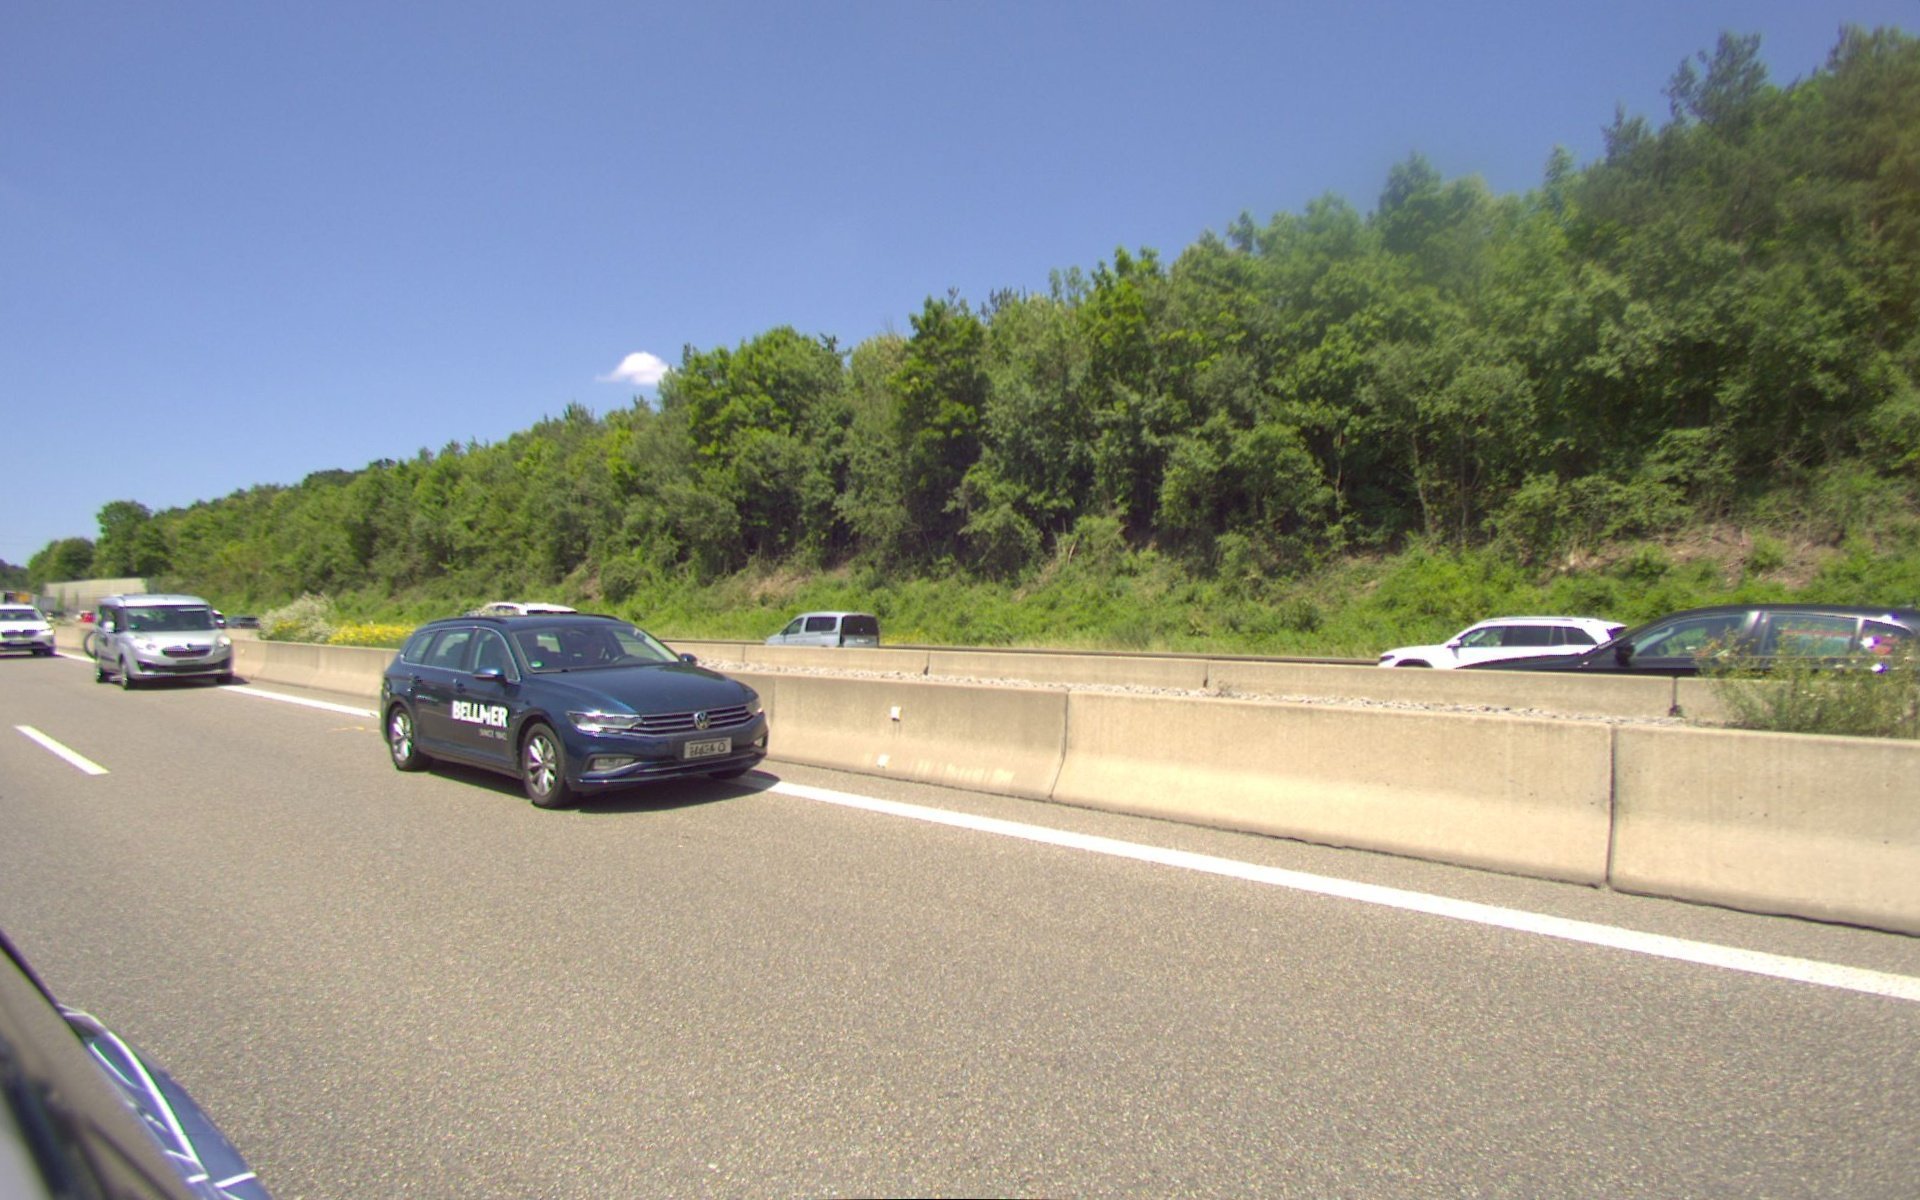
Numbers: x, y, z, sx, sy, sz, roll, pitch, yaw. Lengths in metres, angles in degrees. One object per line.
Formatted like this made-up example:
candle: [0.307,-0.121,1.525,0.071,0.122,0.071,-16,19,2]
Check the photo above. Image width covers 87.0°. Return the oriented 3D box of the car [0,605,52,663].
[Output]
car: [-30.620,1.038,32.479,3.999,1.719,1.800,0,0,42]

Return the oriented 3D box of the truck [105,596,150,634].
truck: [-91.946,1.559,111.748,7.988,4.019,2.664,0,0,42]

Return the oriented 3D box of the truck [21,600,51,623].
truck: [-121.612,1.511,133.142,6.739,2.906,2.155,0,0,41]

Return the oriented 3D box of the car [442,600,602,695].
car: [-10.468,1.022,24.046,4.349,2.029,1.971,1,0,44]

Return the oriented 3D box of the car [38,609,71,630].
car: [-85.602,1.831,95.668,3.998,1.962,1.833,-1,-1,41]

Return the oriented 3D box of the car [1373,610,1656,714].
car: [10.622,1.090,19.568,4.511,1.705,1.973,0,0,41]

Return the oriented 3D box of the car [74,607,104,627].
car: [-91.372,1.781,106.109,3.998,1.962,1.833,-1,-1,41]

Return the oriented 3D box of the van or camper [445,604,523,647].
van or camper: [-24.224,1.246,51.404,4.680,2.029,1.972,1,0,42]

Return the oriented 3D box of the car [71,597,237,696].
car: [-16.740,0.853,20.923,4.915,1.786,1.833,0,0,41]

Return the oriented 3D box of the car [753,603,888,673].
car: [-4.540,1.131,32.476,4.474,2.029,1.971,1,0,44]

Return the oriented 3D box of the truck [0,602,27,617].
truck: [-141.263,1.400,150.965,6.488,2.029,2.327,0,0,41]

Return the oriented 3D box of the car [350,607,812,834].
car: [-3.530,0.805,8.897,4.676,1.461,1.854,0,0,42]

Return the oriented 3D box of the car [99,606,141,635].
car: [-64.040,1.534,77.134,3.999,2.029,1.972,0,0,42]

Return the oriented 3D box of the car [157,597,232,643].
car: [-35.583,0.865,47.006,4.191,2.029,1.973,0,0,41]

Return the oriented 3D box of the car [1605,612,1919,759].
car: [11.536,1.067,13.710,4.511,1.705,1.973,0,0,41]

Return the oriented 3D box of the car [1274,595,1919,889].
car: [5.717,0.980,9.171,5.151,2.029,1.973,0,0,40]
